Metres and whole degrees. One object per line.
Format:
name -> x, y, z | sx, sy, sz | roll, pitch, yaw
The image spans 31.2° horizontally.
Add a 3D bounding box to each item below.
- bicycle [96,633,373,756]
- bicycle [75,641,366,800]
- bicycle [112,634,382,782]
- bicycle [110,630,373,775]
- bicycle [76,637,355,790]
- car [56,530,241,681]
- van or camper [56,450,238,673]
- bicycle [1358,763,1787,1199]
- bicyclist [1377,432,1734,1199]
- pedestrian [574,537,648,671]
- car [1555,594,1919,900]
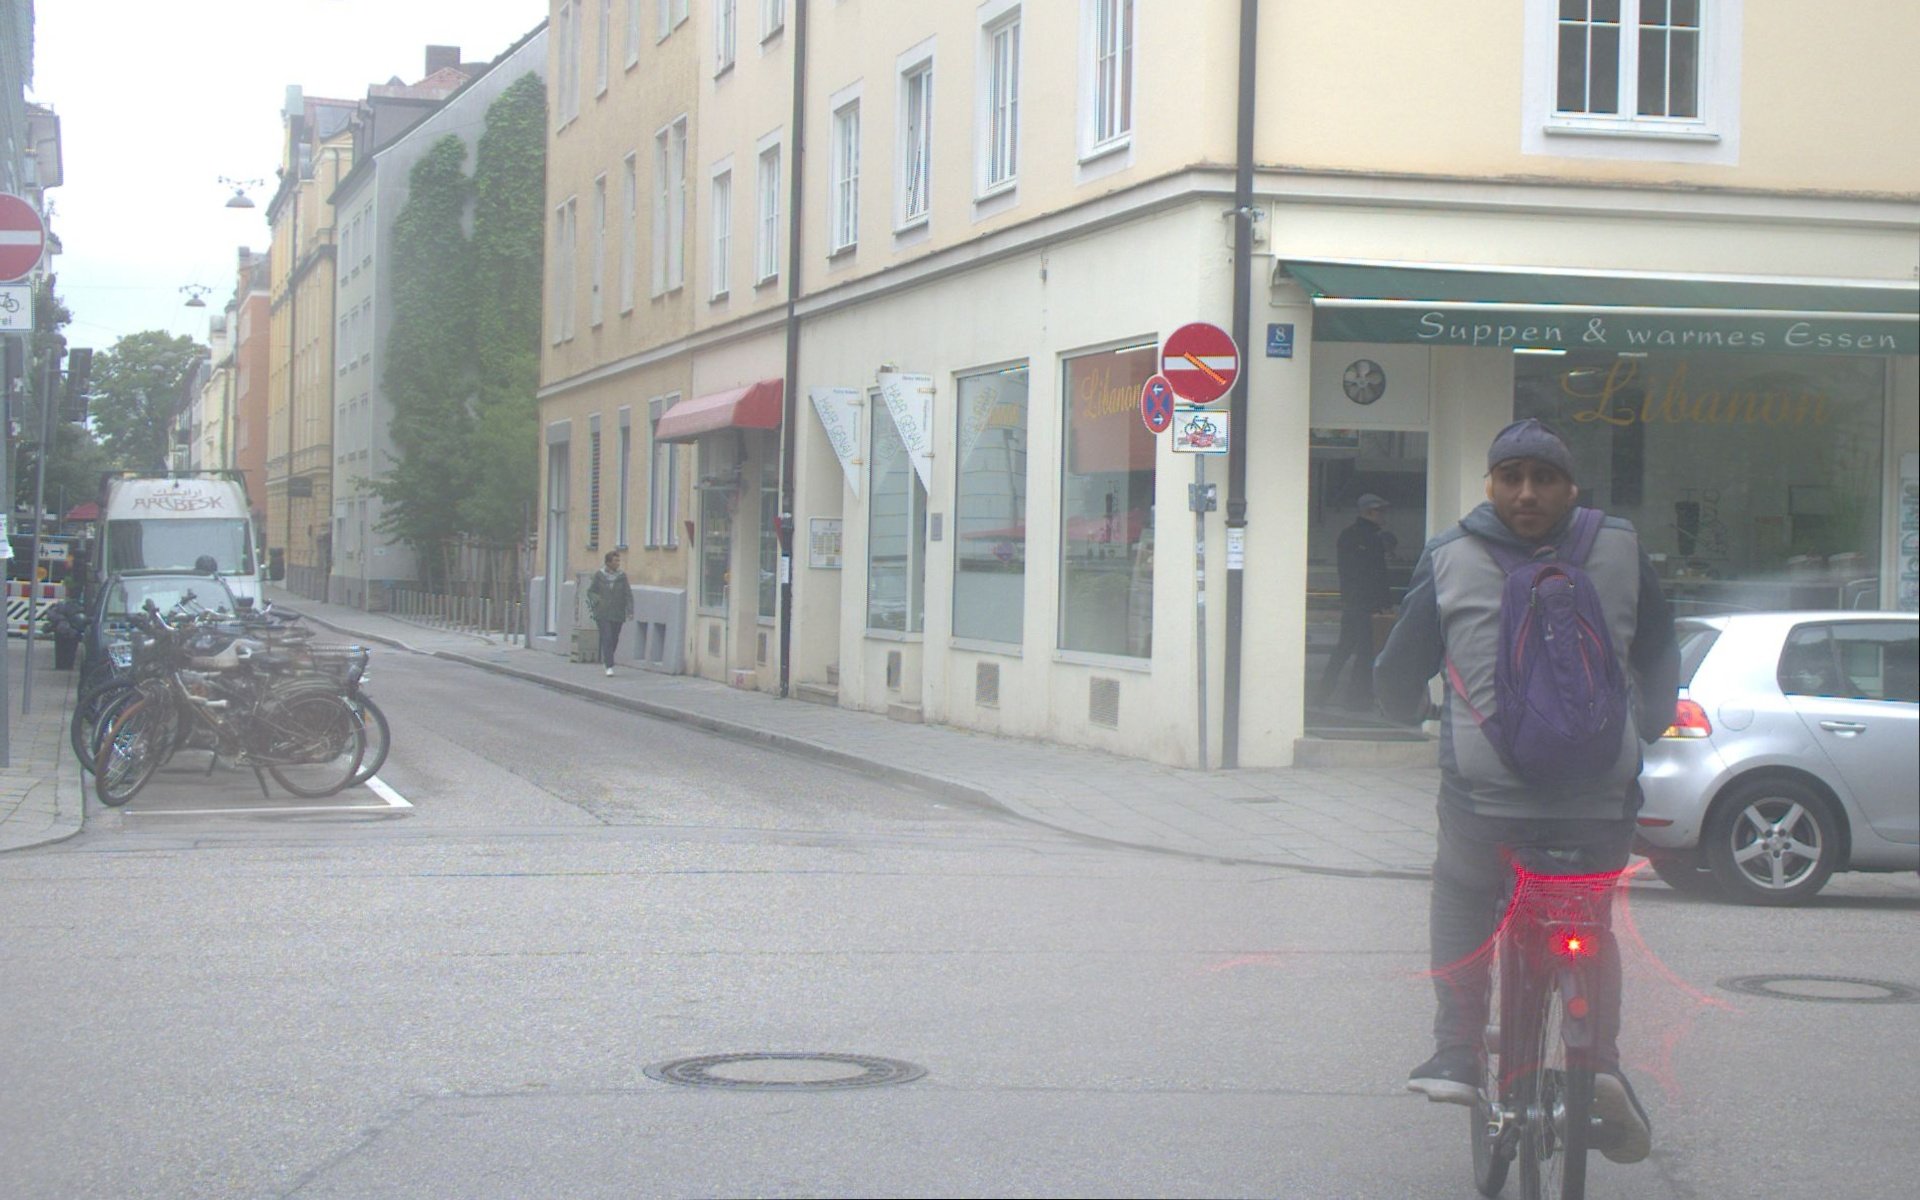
bicycle -> -5.281, 0.687, 25.025 | 1.910, 0.860, 0.619 | 1, 1, -17
bicycle -> -4.699, 0.759, 21.841 | 1.754, 0.965, 0.595 | 1, 1, -17
bicycle -> -4.816, 0.728, 23.222 | 1.735, 0.965, 0.543 | 1, 1, -17
bicycle -> -4.981, 0.707, 23.829 | 1.735, 0.965, 0.543 | 1, 1, -17
bicycle -> -4.874, 0.741, 22.507 | 1.735, 0.965, 0.543 | 1, 1, -17
car -> -8.798, 0.019, 37.376 | 1.832, 1.530, 4.001 | 1, 1, -13
van or camper -> -9.836, -0.479, 41.886 | 1.993, 2.531, 4.762 | 1, 1, -12
bicycle -> 1.213, 0.894, 7.093 | 0.639, 1.001, 1.574 | 1, 1, 2
bicyclist -> 1.222, 0.463, 7.179 | 0.606, 1.601, 0.757 | 1, 1, 2
pedestrian -> -4.712, 0.047, 46.368 | 0.877, 1.772, 0.774 | 1, 1, -12
car -> 5.137, 0.772, 17.192 | 3.987, 1.411, 1.820 | 2, -3, 0
